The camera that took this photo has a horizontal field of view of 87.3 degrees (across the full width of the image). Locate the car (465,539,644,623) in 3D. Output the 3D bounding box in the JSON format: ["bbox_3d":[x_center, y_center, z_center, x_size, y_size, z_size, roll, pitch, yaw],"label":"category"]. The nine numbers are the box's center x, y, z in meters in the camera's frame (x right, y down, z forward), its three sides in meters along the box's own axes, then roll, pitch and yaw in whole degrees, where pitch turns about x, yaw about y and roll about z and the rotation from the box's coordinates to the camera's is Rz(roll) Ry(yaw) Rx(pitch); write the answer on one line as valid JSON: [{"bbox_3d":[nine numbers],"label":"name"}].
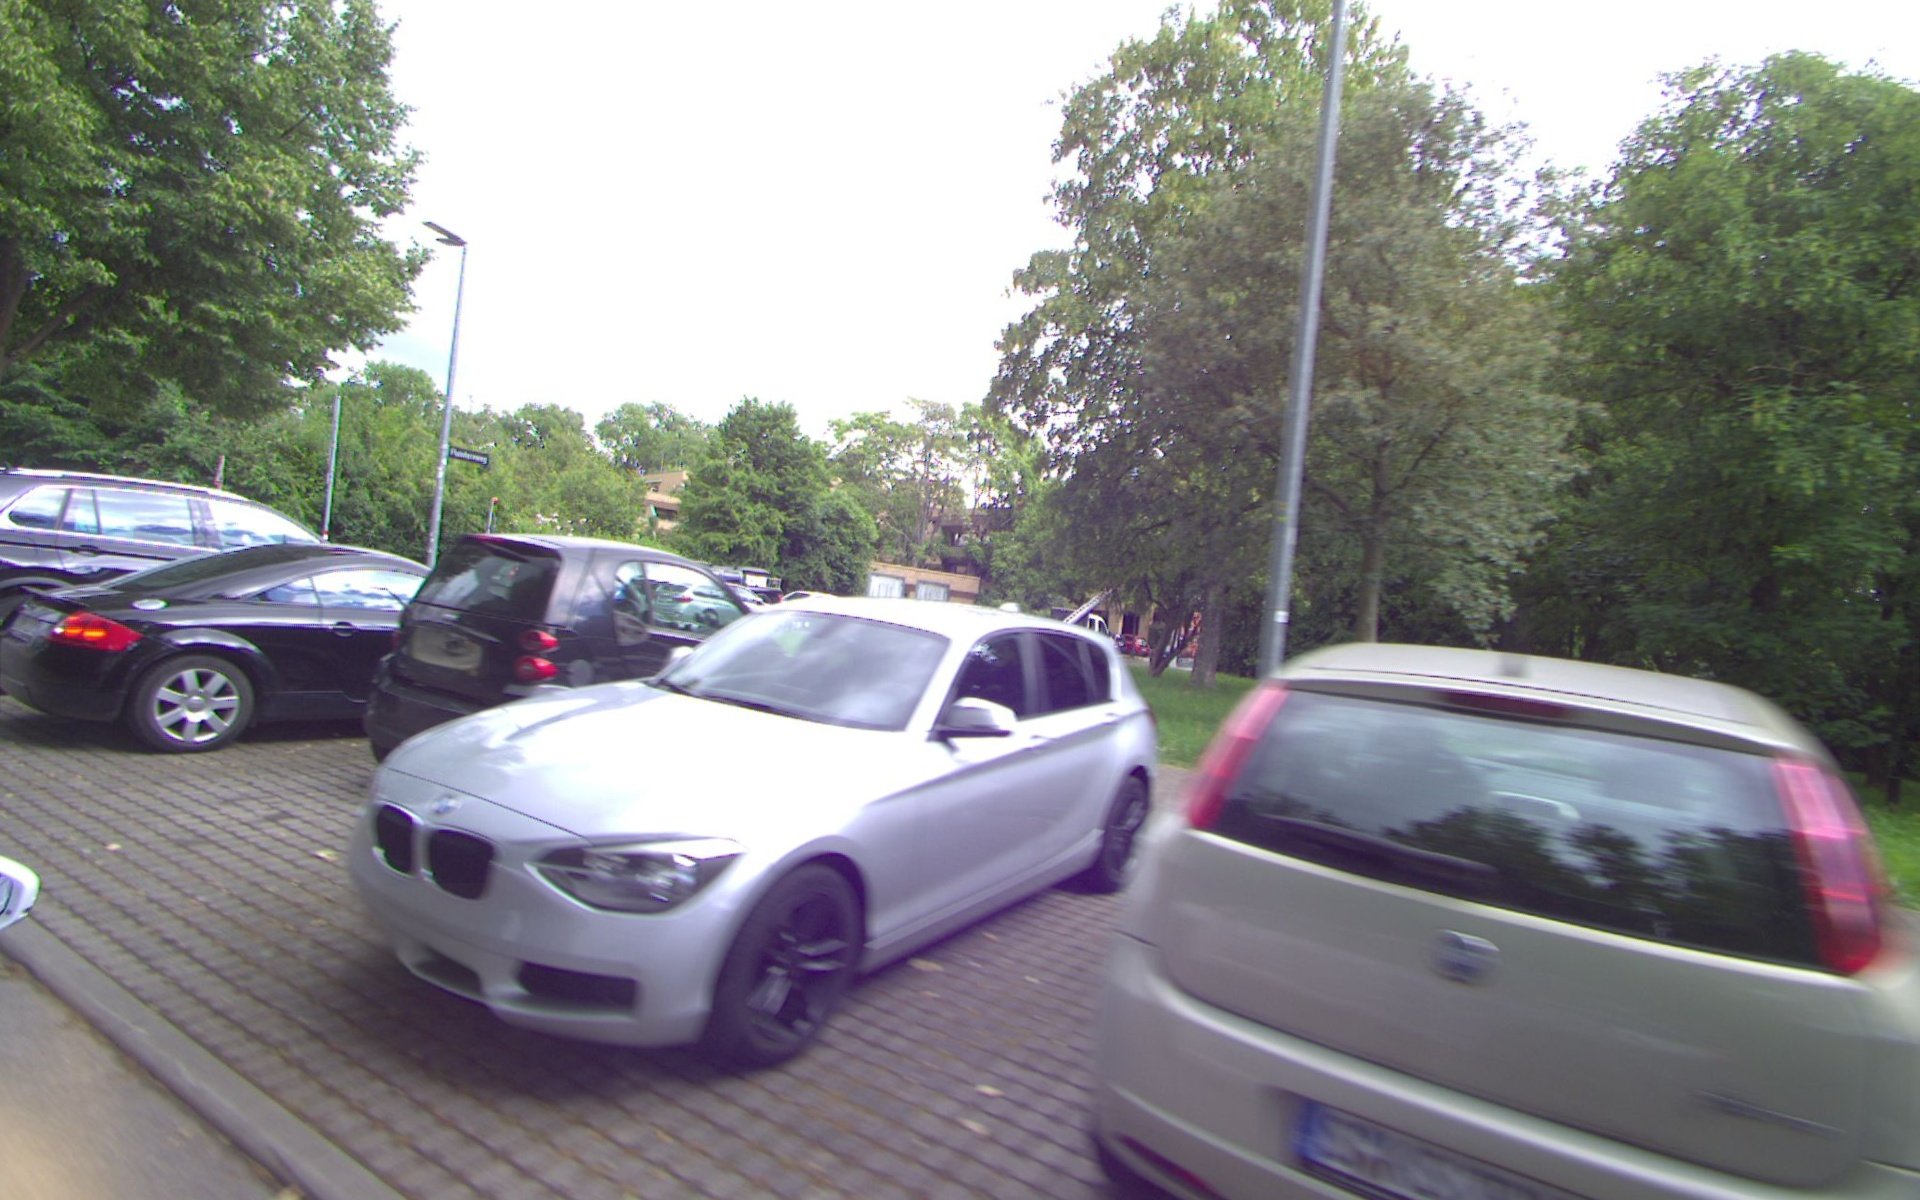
[{"bbox_3d":[-10.335,-0.441,25.832,1.742,1.689,3.776,7,0,39],"label":"car"}]

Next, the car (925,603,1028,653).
[{"bbox_3d":[0.717,1.136,39.574,1.678,1.544,4.281,6,-1,38],"label":"car"}]

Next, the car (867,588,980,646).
[{"bbox_3d":[-1.608,0.803,46.151,2.106,2.081,5.317,7,-1,38],"label":"car"}]

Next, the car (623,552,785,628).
[{"bbox_3d":[-9.052,-0.299,36.065,2.106,2.081,5.317,7,-1,38],"label":"car"}]

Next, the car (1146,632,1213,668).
[{"bbox_3d":[11.773,2.715,53.822,1.678,1.544,4.281,6,-1,38],"label":"car"}]

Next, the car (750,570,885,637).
[{"bbox_3d":[-5.710,0.191,40.985,2.106,2.081,5.317,7,-1,38],"label":"car"}]

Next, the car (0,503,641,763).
[{"bbox_3d":[-4.584,0.224,7.493,1.794,1.376,3.831,6,0,35],"label":"car"}]

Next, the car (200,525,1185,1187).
[{"bbox_3d":[-0.623,0.657,4.521,1.903,1.448,3.990,6,0,31],"label":"car"}]

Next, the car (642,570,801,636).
[{"bbox_3d":[-6.940,0.135,29.634,1.677,1.445,4.391,6,-1,37],"label":"car"}]

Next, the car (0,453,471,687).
[{"bbox_3d":[-6.886,-0.213,8.872,1.949,1.671,4.122,6,0,35],"label":"car"}]

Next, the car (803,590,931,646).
[{"bbox_3d":[-3.134,0.646,34.688,1.678,1.445,4.426,6,-1,38],"label":"car"}]

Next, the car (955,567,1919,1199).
[{"bbox_3d":[1.845,0.880,3.368,1.781,1.547,3.989,6,0,32],"label":"car"}]

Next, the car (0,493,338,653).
[{"bbox_3d":[-8.924,-0.278,10.352,1.822,1.421,3.833,6,0,33],"label":"car"}]

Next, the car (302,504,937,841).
[{"bbox_3d":[-2.004,0.409,6.989,1.789,1.578,3.835,6,0,31],"label":"car"}]

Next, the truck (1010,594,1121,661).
[{"bbox_3d":[4.791,1.275,44.852,2.160,2.455,5.504,6,-1,38],"label":"truck"}]
